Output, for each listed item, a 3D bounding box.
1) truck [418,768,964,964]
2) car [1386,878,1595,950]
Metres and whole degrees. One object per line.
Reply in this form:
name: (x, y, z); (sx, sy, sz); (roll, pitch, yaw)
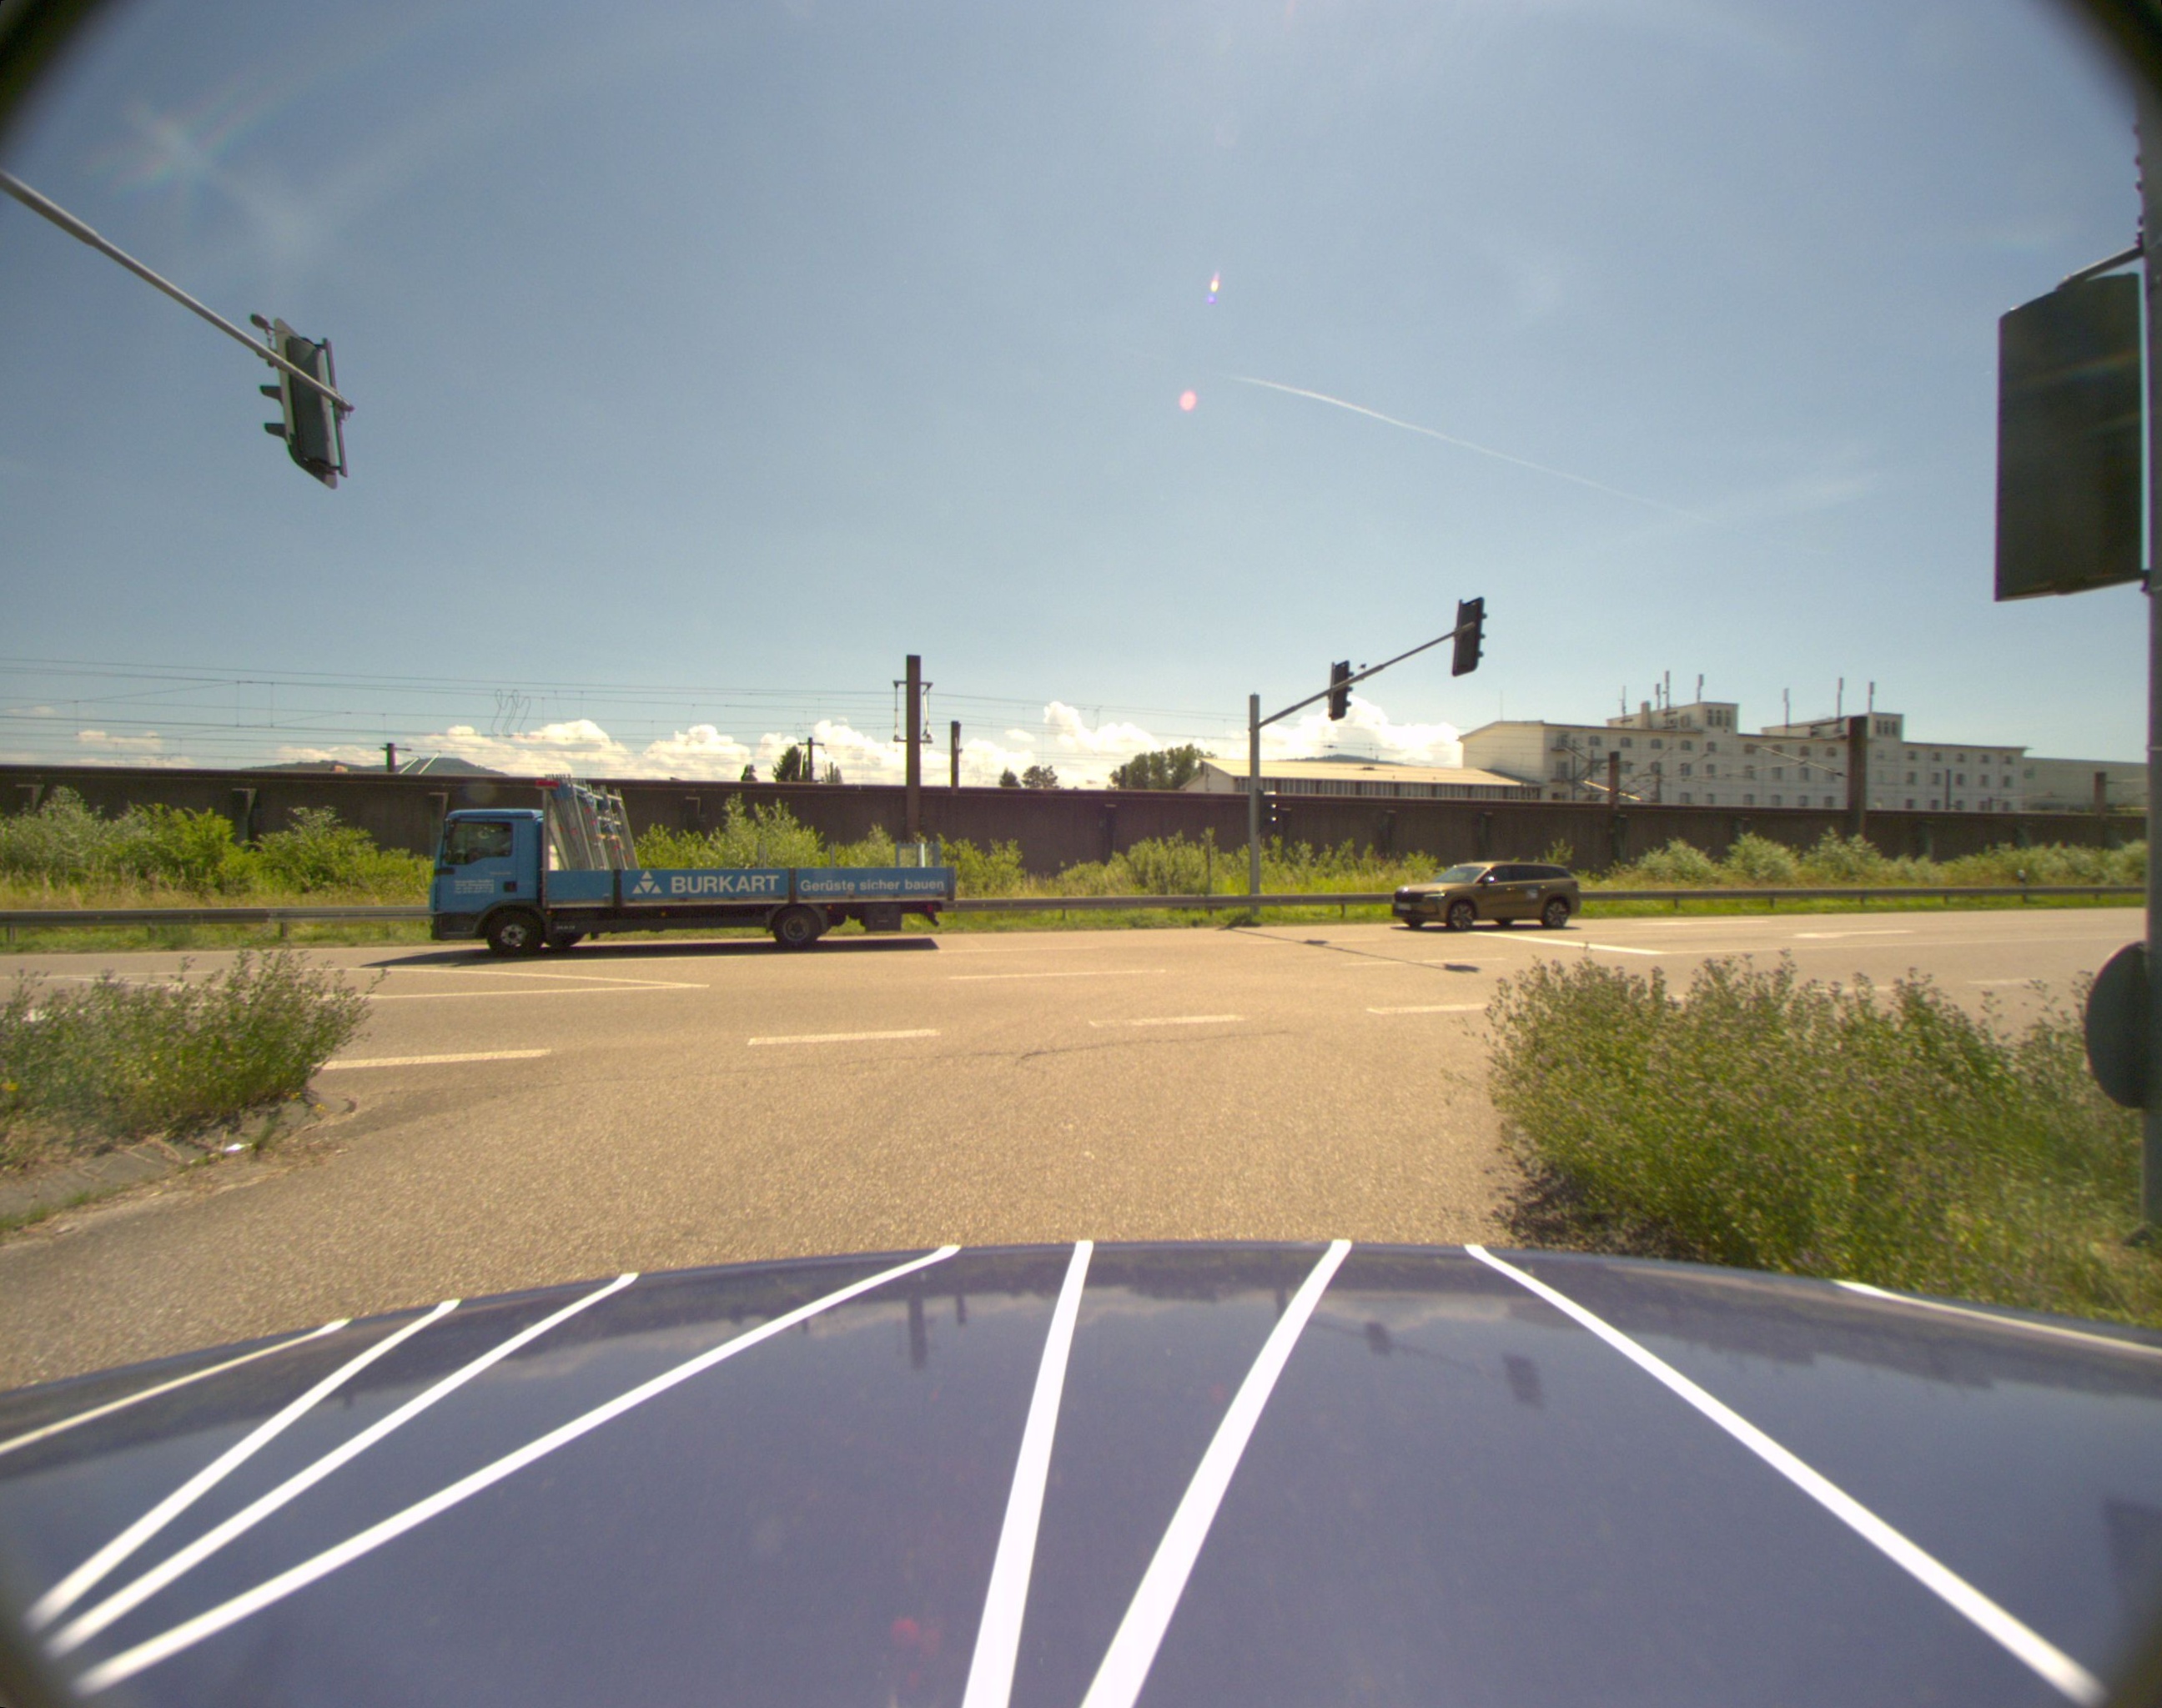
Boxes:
truck: (-6.767, 0.272, 14.656); (8.630, 3.131, 2.919); (1, -1, -15)
car: (10.134, 1.429, 18.880); (4.625, 1.617, 1.703); (1, 0, -14)
